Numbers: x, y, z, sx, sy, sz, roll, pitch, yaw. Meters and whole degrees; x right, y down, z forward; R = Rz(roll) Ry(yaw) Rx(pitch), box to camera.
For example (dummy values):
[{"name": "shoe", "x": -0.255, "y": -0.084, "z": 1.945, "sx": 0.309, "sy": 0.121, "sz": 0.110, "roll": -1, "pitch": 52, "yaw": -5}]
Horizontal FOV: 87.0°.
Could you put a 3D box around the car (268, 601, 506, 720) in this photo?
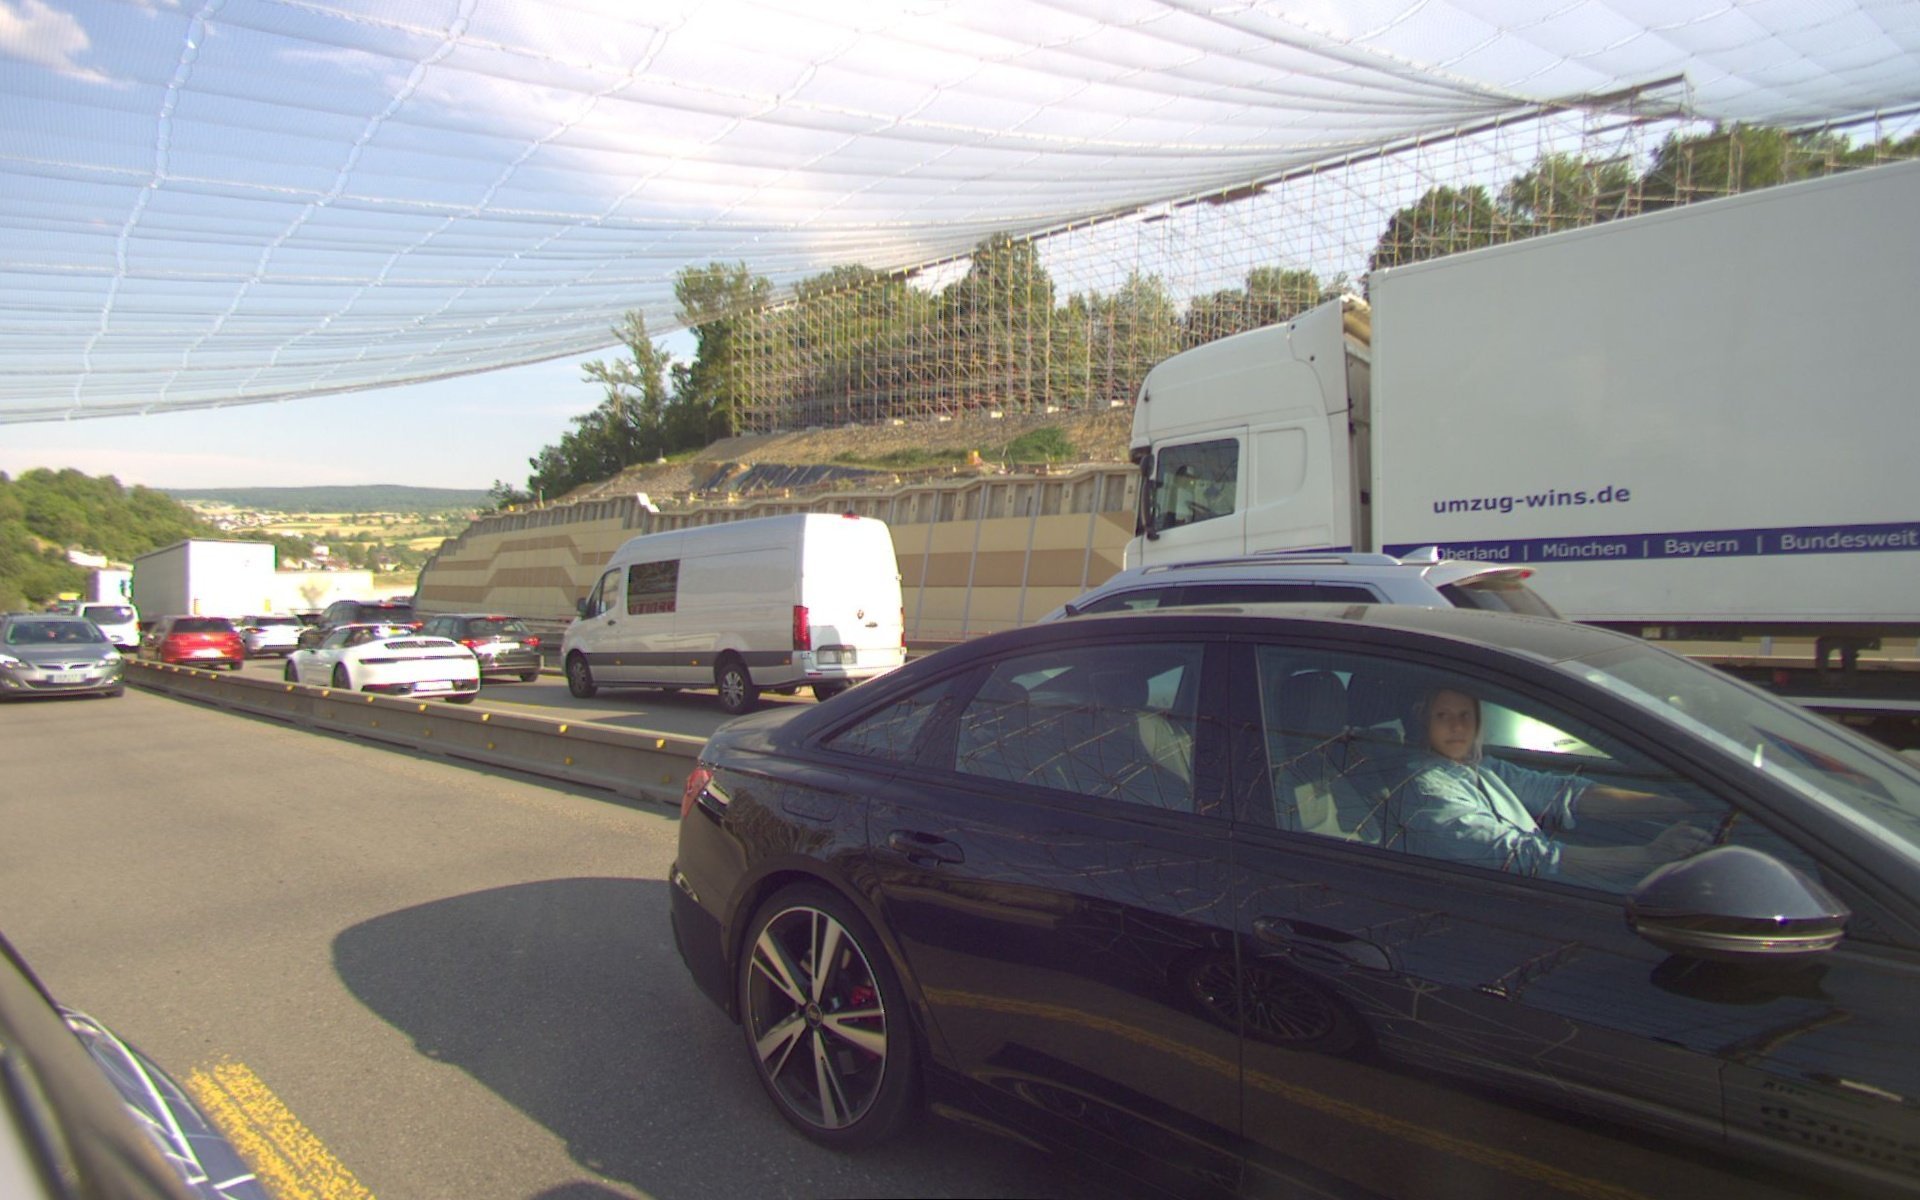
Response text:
[{"name": "car", "x": -8.940, "y": 0.825, "z": 15.648, "sx": 4.362, "sy": 1.580, "sz": 1.790, "roll": -1, "pitch": 0, "yaw": 40}]

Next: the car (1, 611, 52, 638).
[{"name": "car", "x": -55.235, "y": 1.423, "z": 59.855, "sx": 4.646, "sy": 1.546, "sz": 1.913, "roll": -1, "pitch": 0, "yaw": 44}]

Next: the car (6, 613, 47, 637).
[{"name": "car", "x": -63.061, "y": 1.639, "z": 68.328, "sx": 1.912, "sy": 1.530, "sz": 4.982, "roll": -1, "pitch": 0, "yaw": -44}]

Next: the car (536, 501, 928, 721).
[{"name": "car", "x": -3.842, "y": 0.165, "z": 15.741, "sx": 7.079, "sy": 2.733, "sz": 2.218, "roll": -1, "pitch": 0, "yaw": 41}]

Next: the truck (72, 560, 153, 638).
[{"name": "truck", "x": -56.275, "y": -0.021, "z": 66.961, "sx": 2.952, "sy": 4.593, "sz": 17.421, "roll": 0, "pitch": 0, "yaw": -44}]

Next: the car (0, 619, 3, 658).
[{"name": "car", "x": -36.741, "y": 1.419, "z": 37.520, "sx": 3.824, "sy": 1.394, "sz": 1.740, "roll": -1, "pitch": 0, "yaw": 45}]

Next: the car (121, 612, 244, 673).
[{"name": "car", "x": -20.313, "y": 1.054, "z": 26.386, "sx": 4.517, "sy": 1.430, "sz": 1.789, "roll": -1, "pitch": 0, "yaw": 42}]

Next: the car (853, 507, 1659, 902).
[{"name": "car", "x": 1.518, "y": 0.433, "z": 6.155, "sx": 4.362, "sy": 1.580, "sz": 1.790, "roll": -1, "pitch": 0, "yaw": 40}]

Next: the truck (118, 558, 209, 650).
[{"name": "truck", "x": -36.578, "y": 0.178, "z": 46.416, "sx": 6.050, "sy": 3.937, "sz": 2.488, "roll": -1, "pitch": 0, "yaw": 44}]

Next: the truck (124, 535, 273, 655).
[{"name": "truck", "x": -31.686, "y": -0.134, "z": 41.717, "sx": 14.172, "sy": 4.259, "sz": 2.691, "roll": -1, "pitch": 0, "yaw": 44}]

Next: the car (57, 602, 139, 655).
[{"name": "car", "x": -32.870, "y": 1.052, "z": 38.524, "sx": 5.281, "sy": 1.883, "sz": 1.788, "roll": -1, "pitch": 0, "yaw": 43}]

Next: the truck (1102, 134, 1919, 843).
[{"name": "truck", "x": 4.864, "y": -0.612, "z": 7.746, "sx": 7.200, "sy": 3.939, "sz": 2.604, "roll": -1, "pitch": 0, "yaw": 41}]

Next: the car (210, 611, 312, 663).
[{"name": "car", "x": -23.049, "y": 1.164, "z": 33.307, "sx": 4.909, "sy": 1.552, "sz": 1.772, "roll": -1, "pitch": 0, "yaw": 43}]

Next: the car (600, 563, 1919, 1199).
[{"name": "car", "x": 1.304, "y": 0.660, "z": 2.343, "sx": 4.960, "sy": 1.409, "sz": 1.914, "roll": -1, "pitch": 0, "yaw": 42}]

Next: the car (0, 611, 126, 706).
[{"name": "car", "x": -16.413, "y": 0.964, "z": 18.105, "sx": 4.352, "sy": 1.484, "sz": 1.737, "roll": -1, "pitch": 0, "yaw": 43}]

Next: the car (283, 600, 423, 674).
[{"name": "car", "x": -15.821, "y": 0.890, "z": 26.268, "sx": 4.937, "sy": 1.740, "sz": 1.804, "roll": -1, "pitch": 0, "yaw": 43}]

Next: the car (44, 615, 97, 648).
[{"name": "car", "x": -43.882, "y": 1.523, "z": 49.886, "sx": 4.218, "sy": 1.563, "sz": 1.565, "roll": -1, "pitch": 0, "yaw": 43}]

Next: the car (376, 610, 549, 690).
[{"name": "car", "x": -10.358, "y": 0.956, "z": 20.929, "sx": 4.381, "sy": 1.448, "sz": 1.772, "roll": -1, "pitch": 0, "yaw": 43}]
